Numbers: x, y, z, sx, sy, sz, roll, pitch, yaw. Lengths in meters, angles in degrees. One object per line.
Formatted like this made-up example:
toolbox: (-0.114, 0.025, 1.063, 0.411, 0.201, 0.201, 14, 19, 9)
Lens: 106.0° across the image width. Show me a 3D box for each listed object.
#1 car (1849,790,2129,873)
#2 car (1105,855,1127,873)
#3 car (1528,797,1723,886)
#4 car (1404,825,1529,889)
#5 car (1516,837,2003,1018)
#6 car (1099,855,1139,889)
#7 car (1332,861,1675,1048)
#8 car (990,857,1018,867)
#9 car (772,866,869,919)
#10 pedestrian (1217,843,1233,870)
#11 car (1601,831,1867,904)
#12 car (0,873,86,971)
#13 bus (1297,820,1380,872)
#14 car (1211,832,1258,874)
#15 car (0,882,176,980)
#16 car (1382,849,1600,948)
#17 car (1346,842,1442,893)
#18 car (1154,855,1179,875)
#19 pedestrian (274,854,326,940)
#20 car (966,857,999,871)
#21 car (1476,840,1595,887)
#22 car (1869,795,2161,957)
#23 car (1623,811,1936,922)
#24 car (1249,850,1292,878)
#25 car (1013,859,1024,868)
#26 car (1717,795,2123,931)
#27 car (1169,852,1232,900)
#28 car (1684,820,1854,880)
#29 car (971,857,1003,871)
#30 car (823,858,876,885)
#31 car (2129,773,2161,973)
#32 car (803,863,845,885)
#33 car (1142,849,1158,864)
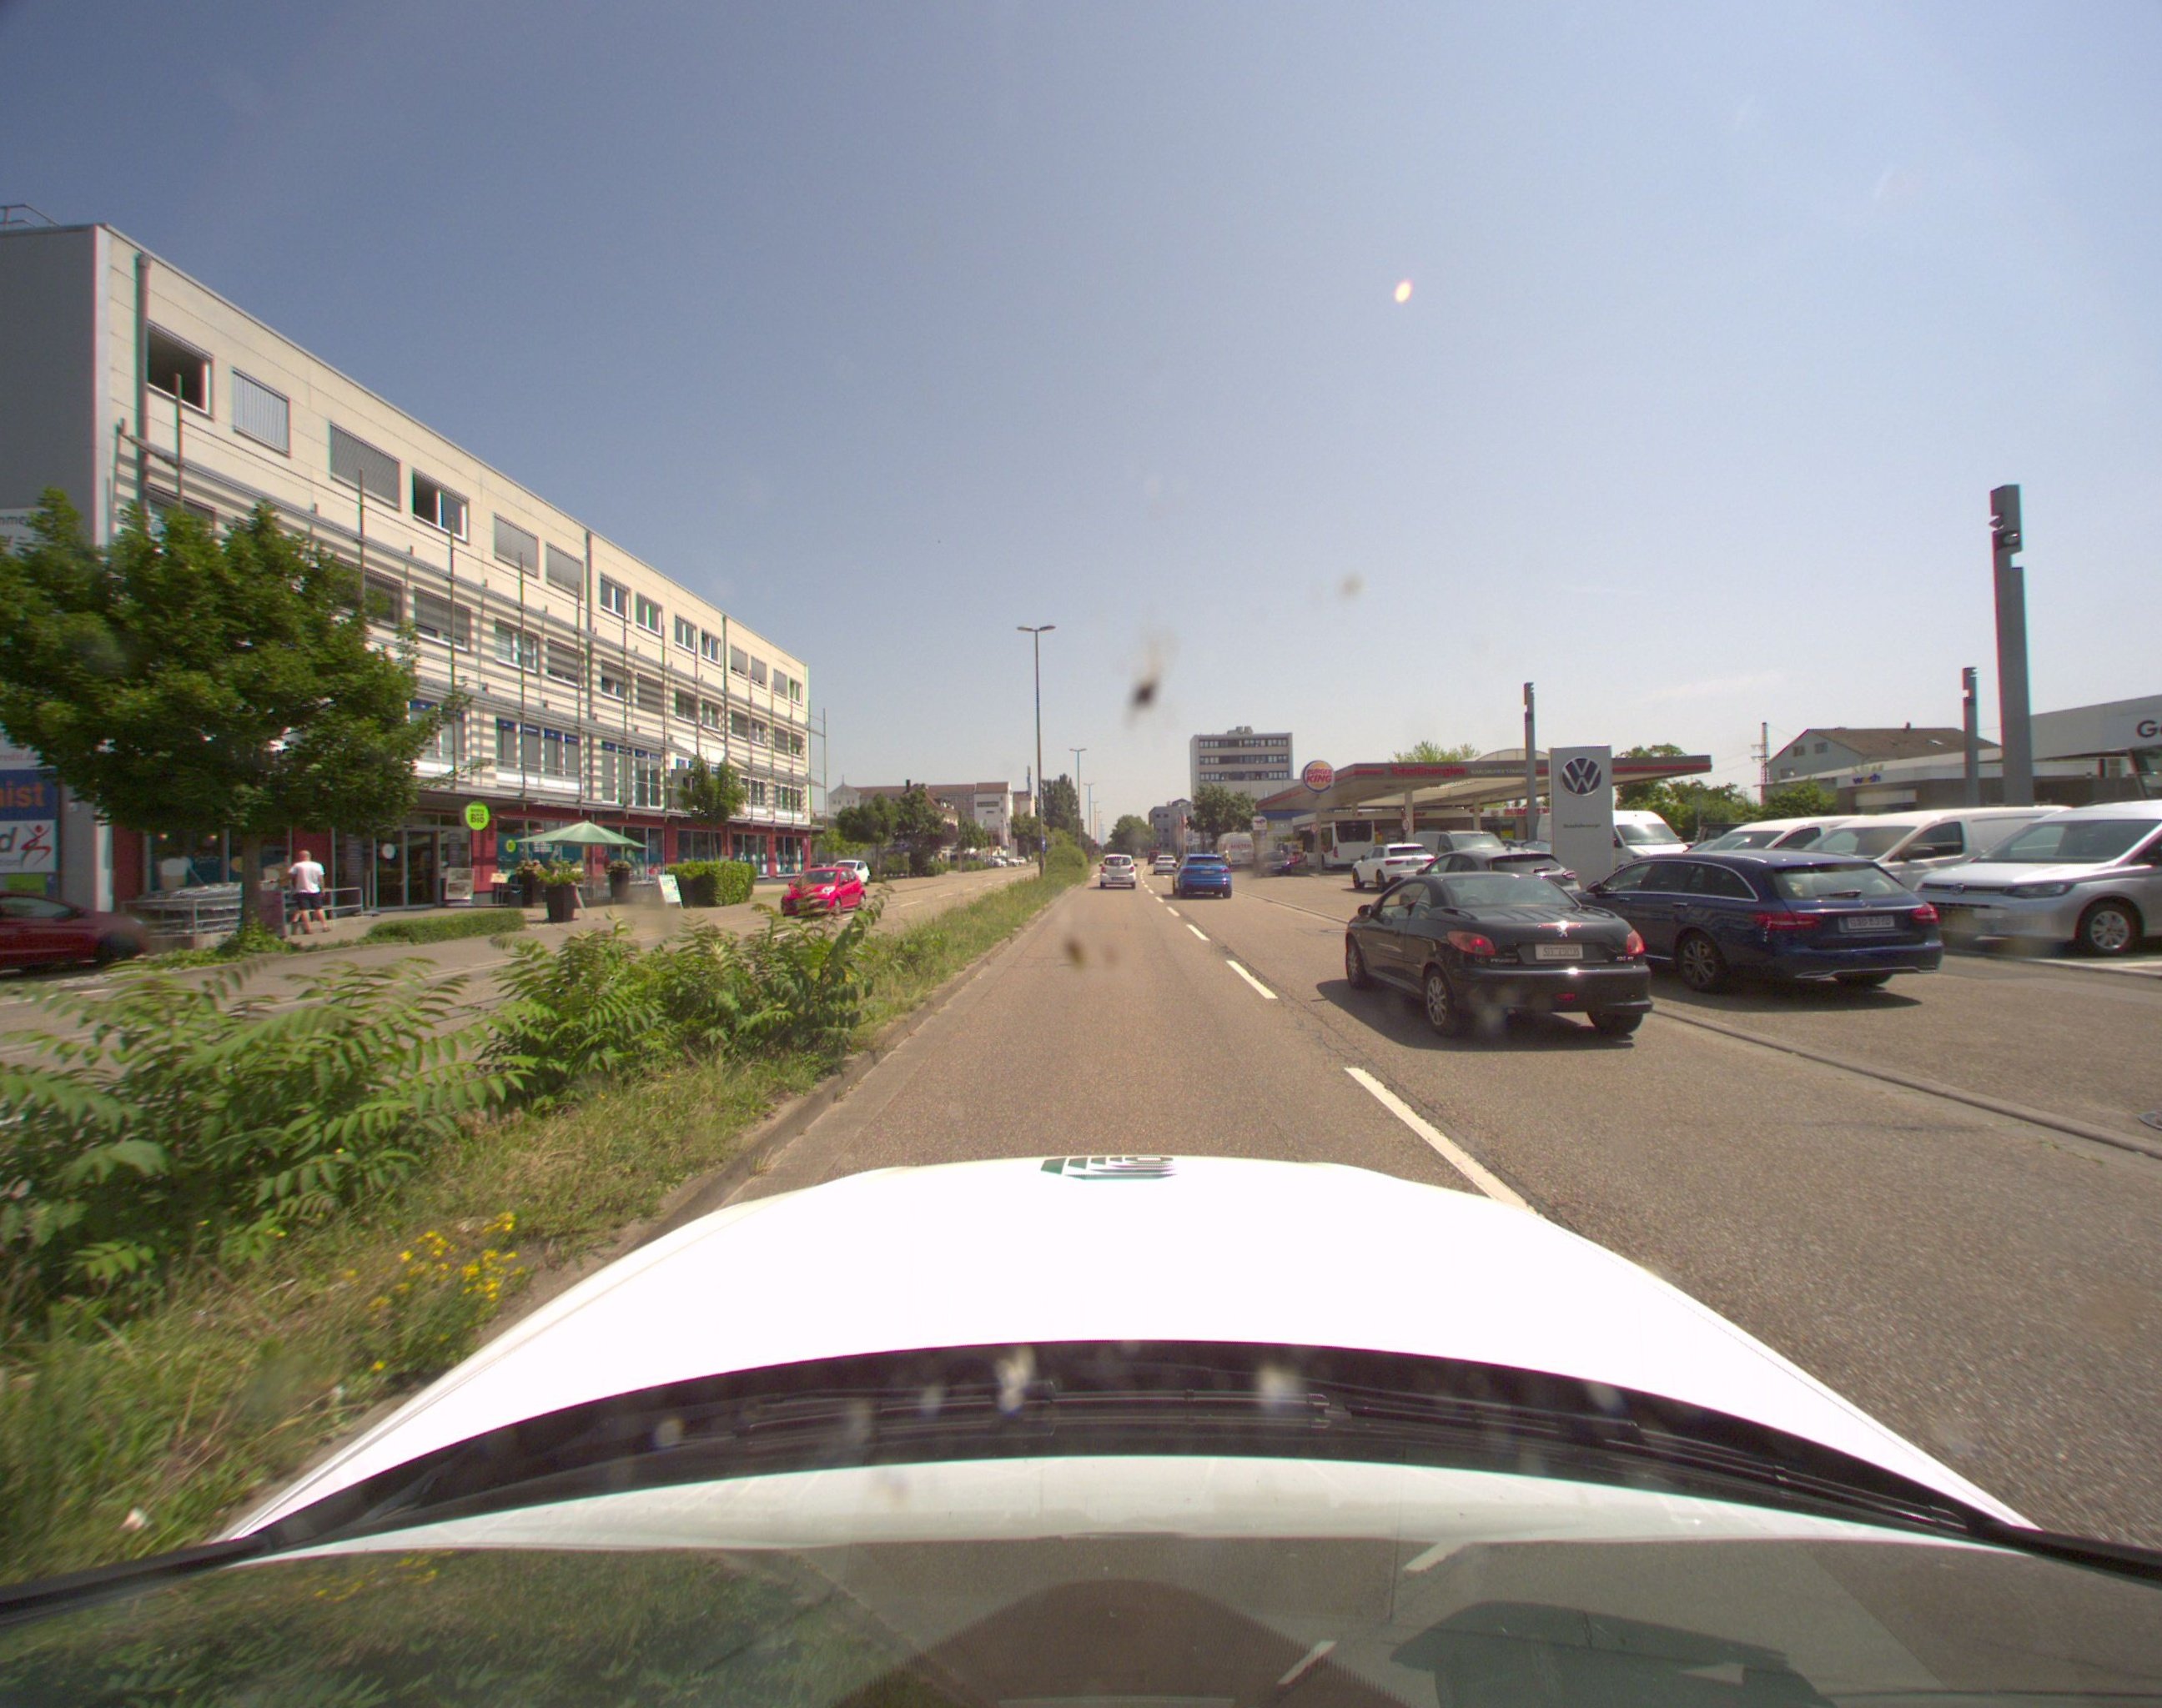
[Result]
car: (31.858, -0.724, 29.121, 2.247, 2.556, 7.076, -2, 0, 2)
car: (2.907, 0.831, 68.003, 1.823, 1.450, 4.001, 0, -2, 2)
car: (18.651, -0.370, 28.528, 2.247, 2.675, 7.021, -2, 0, 2)
car: (13.234, 0.127, 28.351, 1.986, 2.023, 5.161, -1, -1, 1)
car: (7.313, 0.688, 9.636, 1.708, 1.548, 4.789, -2, -1, 0)
car: (1.705, 0.821, 37.427, 1.707, 1.511, 3.246, 0, -1, 0)
car: (3.836, 0.795, 8.149, 1.594, 1.425, 3.662, -1, -1, 1)
car: (-11.829, 1.267, 125.775, 3.969, 1.552, 1.867, 0, -2, 4)
car: (-7.763, 1.106, 24.546, 1.624, 1.424, 3.452, -3, -1, 2)
pedestrian: (9.839, 0.193, 55.607, 0.812, 1.749, 0.703, 6, -2, 2)
car: (14.962, 0.301, 18.864, 4.516, 1.446, 2.001, -2, 0, 1)
car: (-20.302, 1.281, 13.237, 1.753, 1.734, 5.167, -4, 0, 1)
bus: (17.039, -0.527, 54.893, 2.791, 3.078, 12.304, -1, 1, 5)
car: (11.253, -0.060, 60.302, 2.125, 2.839, 7.312, -4, 0, 2)
car: (-17.857, 1.305, 13.364, 1.653, 1.467, 3.798, -4, 0, 1)
car: (7.287, 0.707, 15.015, 1.728, 1.552, 4.175, -1, 0, -3)
car: (10.807, 0.435, 28.465, 1.661, 1.596, 4.614, -2, 0, 2)
car: (6.323, 0.805, 60.383, 1.660, 1.399, 3.796, -1, 0, 3)
pedestrian: (-17.357, 0.939, 18.102, 0.673, 1.866, 0.499, 2, 1, 1)
car: (-12.515, 1.247, 103.494, 3.975, 1.665, 1.888, 0, -2, -1)
car: (15.787, 0.314, 28.602, 1.737, 1.513, 4.602, 0, 0, 2)
car: (12.972, 0.197, 10.297, 4.136, 1.781, 1.881, -3, -1, 0)
car: (13.387, 0.239, 15.832, 4.397, 1.882, 1.909, -2, -1, 0)
car: (10.826, 0.560, 46.799, 1.651, 1.519, 3.821, -2, 0, 2)
car: (-10.604, 1.615, 138.373, 1.897, 1.354, 3.995, 0, -2, -3)
car: (13.203, 0.145, 13.049, 4.540, 1.888, 1.857, -2, -1, 0)
car: (4.303, 0.762, 29.921, 1.905, 1.597, 4.399, -1, -1, 3)
car: (23.776, -0.200, 28.436, 1.729, 1.865, 4.797, -2, 2, -3)
car: (-12.601, 1.365, 109.468, 3.975, 1.729, 1.936, 0, -2, -1)
car: (-13.295, 1.054, 47.045, 1.672, 1.495, 4.044, 0, -3, 3)
car: (13.131, 0.081, 7.429, 4.626, 2.013, 1.960, -3, 0, -1)
car: (-19.748, 1.567, 62.669, 1.762, 1.547, 4.002, -1, -2, 3)
car: (8.710, 0.338, 103.166, 1.789, 1.729, 3.971, 0, -2, 0)
